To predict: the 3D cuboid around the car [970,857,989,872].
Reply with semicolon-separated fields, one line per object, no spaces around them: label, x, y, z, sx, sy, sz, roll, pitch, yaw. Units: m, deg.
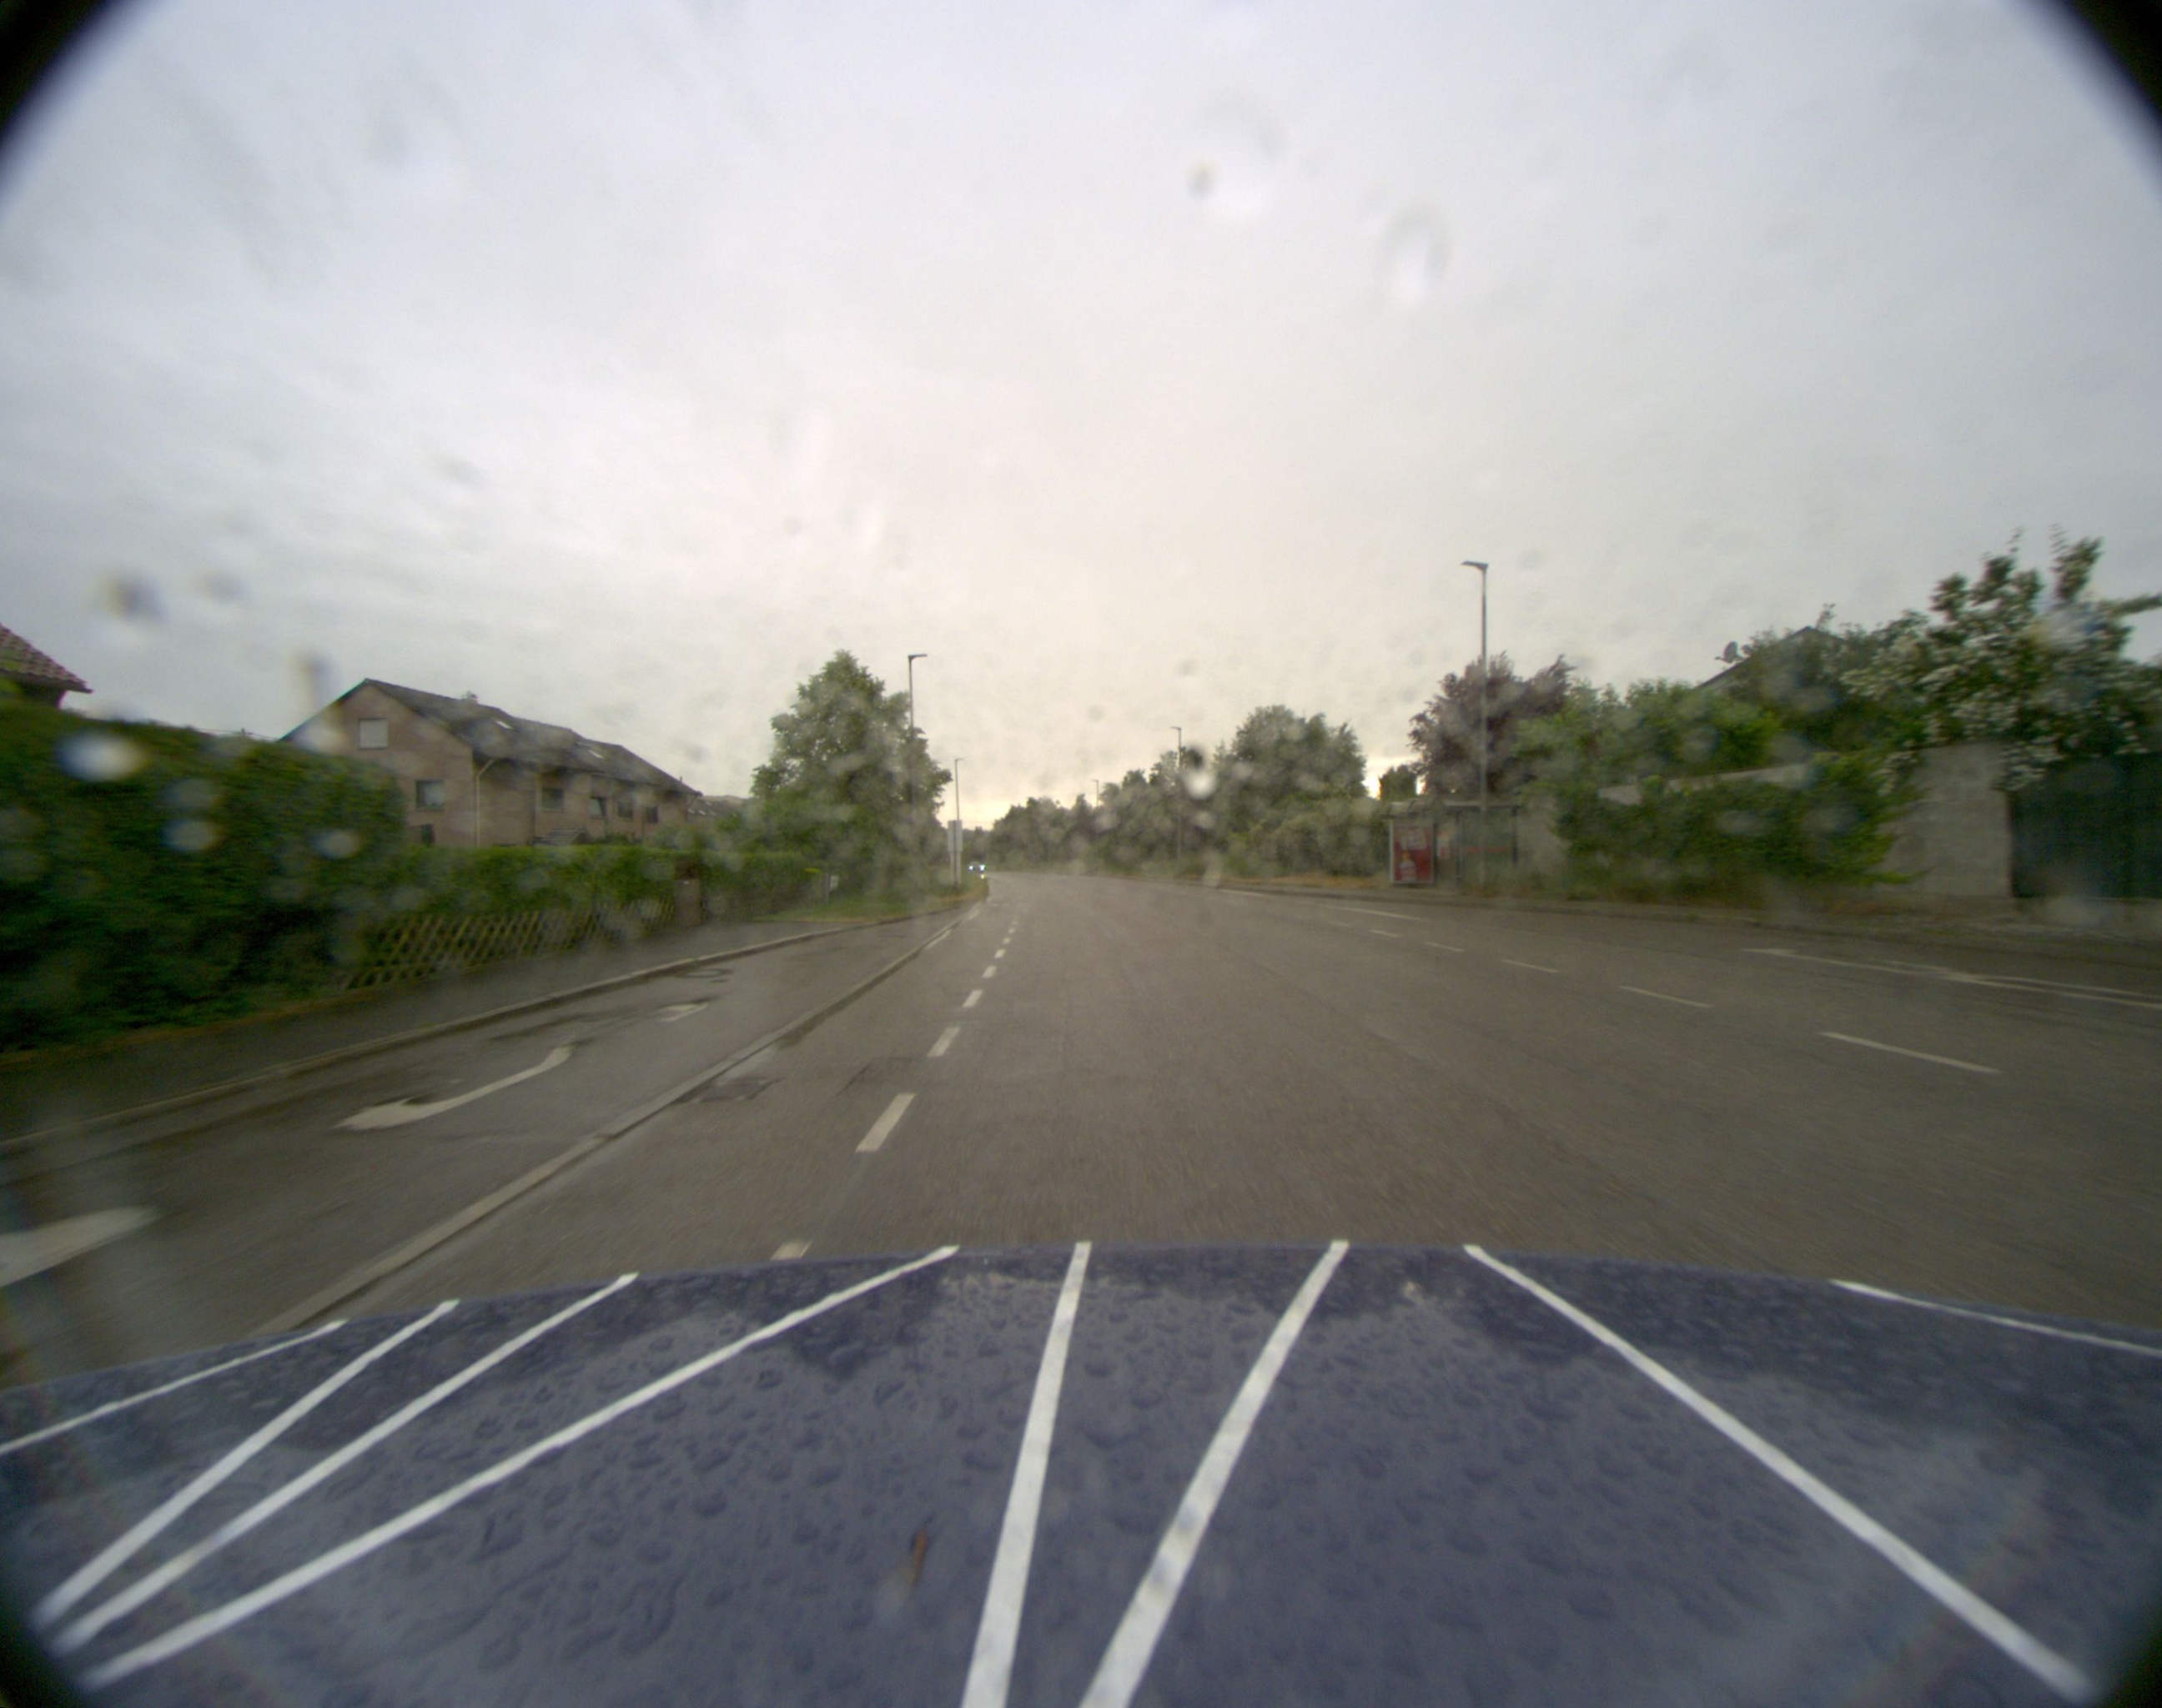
car;-12.696;1.287;94.679;2.001;1.831;3.996;-1;0;-12
